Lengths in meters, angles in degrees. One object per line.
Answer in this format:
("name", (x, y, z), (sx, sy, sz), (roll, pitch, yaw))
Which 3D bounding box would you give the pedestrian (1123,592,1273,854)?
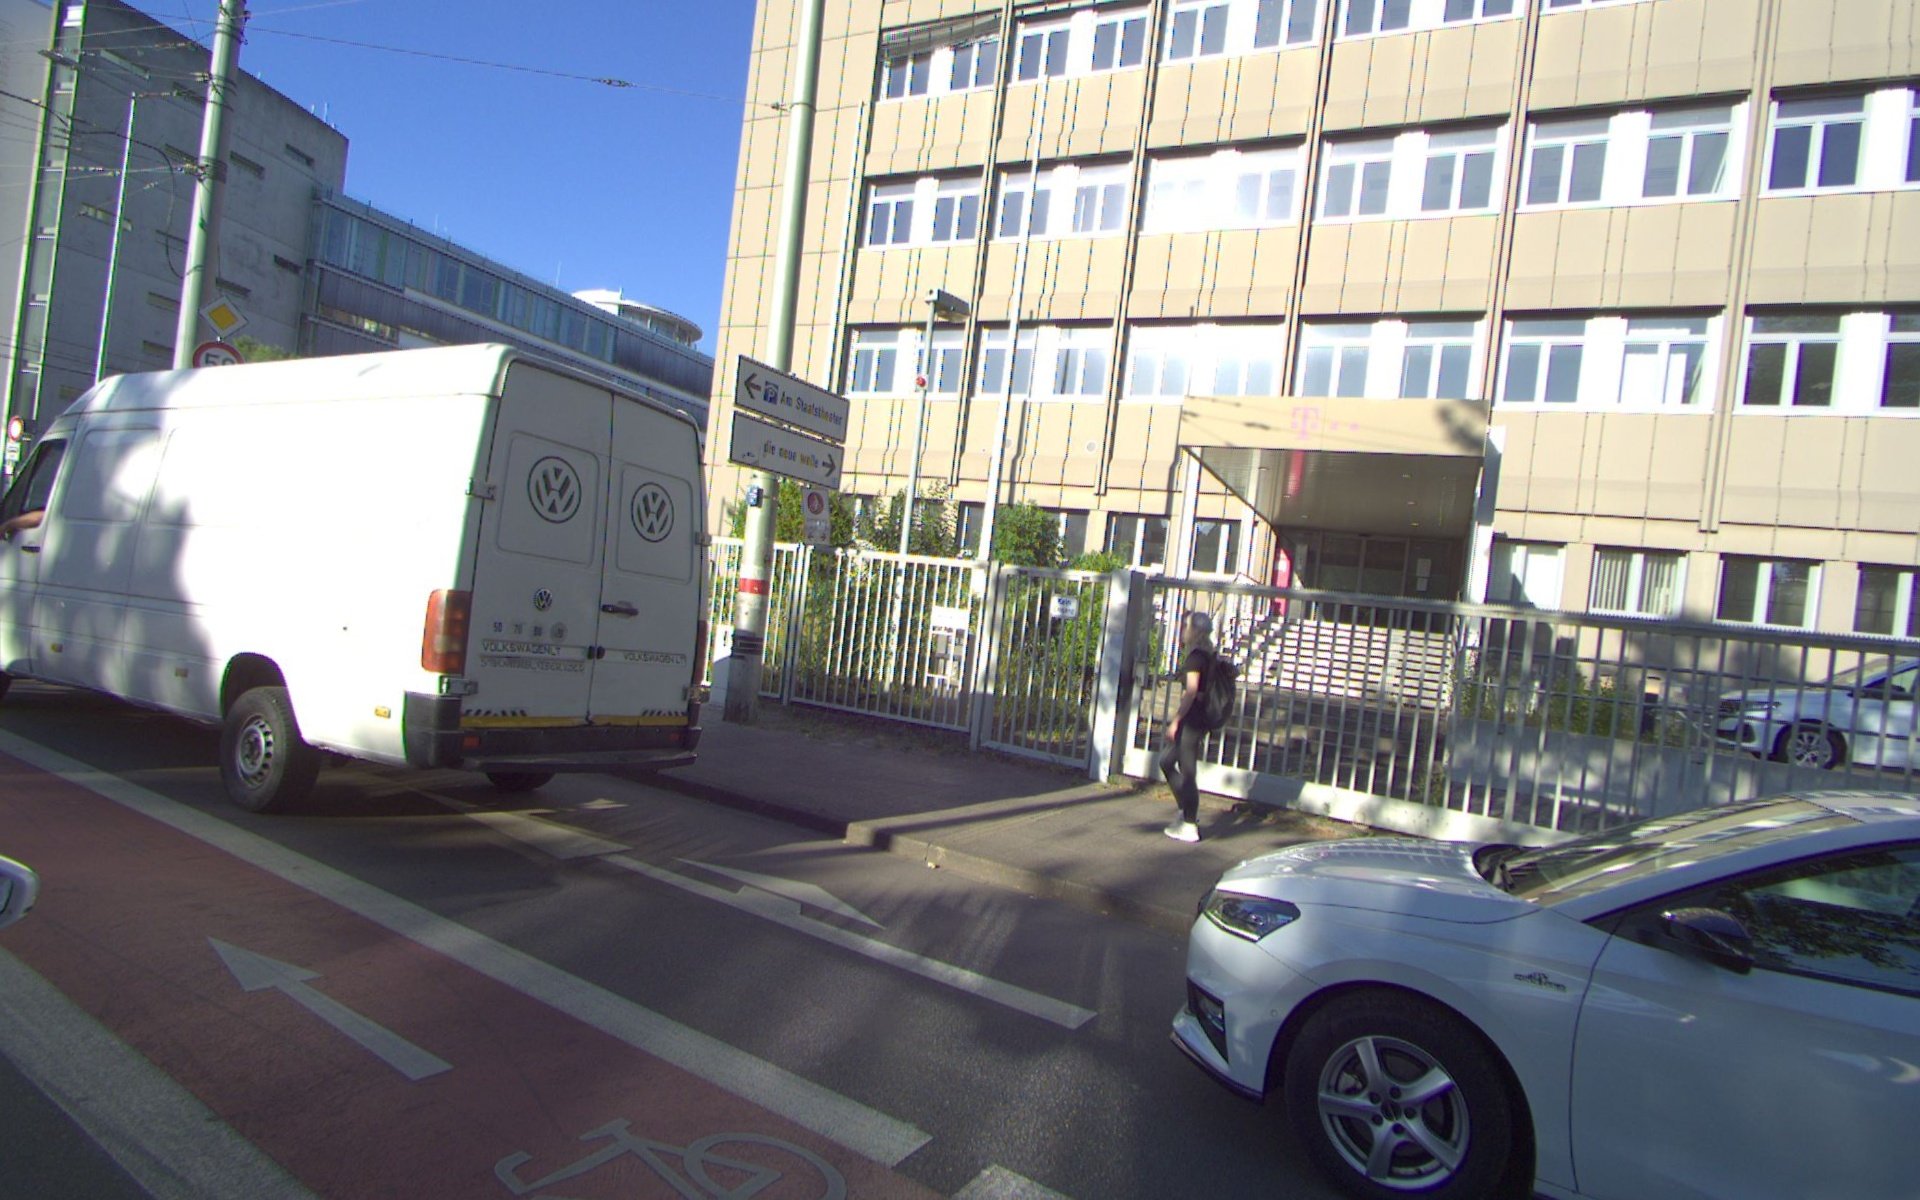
("pedestrian", (1.781, 0.889, 7.517), (0.757, 1.784, 0.591), (7, 1, 32))

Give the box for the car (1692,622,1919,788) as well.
("car", (12.829, 1.527, 13.244), (4.701, 1.865, 1.998), (7, 0, 27))

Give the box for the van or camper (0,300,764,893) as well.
("van or camper", (-4.566, -0.248, 6.992), (6.196, 2.748, 1.973), (7, -1, 29))

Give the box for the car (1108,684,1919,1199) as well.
("car", (2.701, 1.253, 3.010), (4.006, 1.405, 1.705), (7, -1, 30))
